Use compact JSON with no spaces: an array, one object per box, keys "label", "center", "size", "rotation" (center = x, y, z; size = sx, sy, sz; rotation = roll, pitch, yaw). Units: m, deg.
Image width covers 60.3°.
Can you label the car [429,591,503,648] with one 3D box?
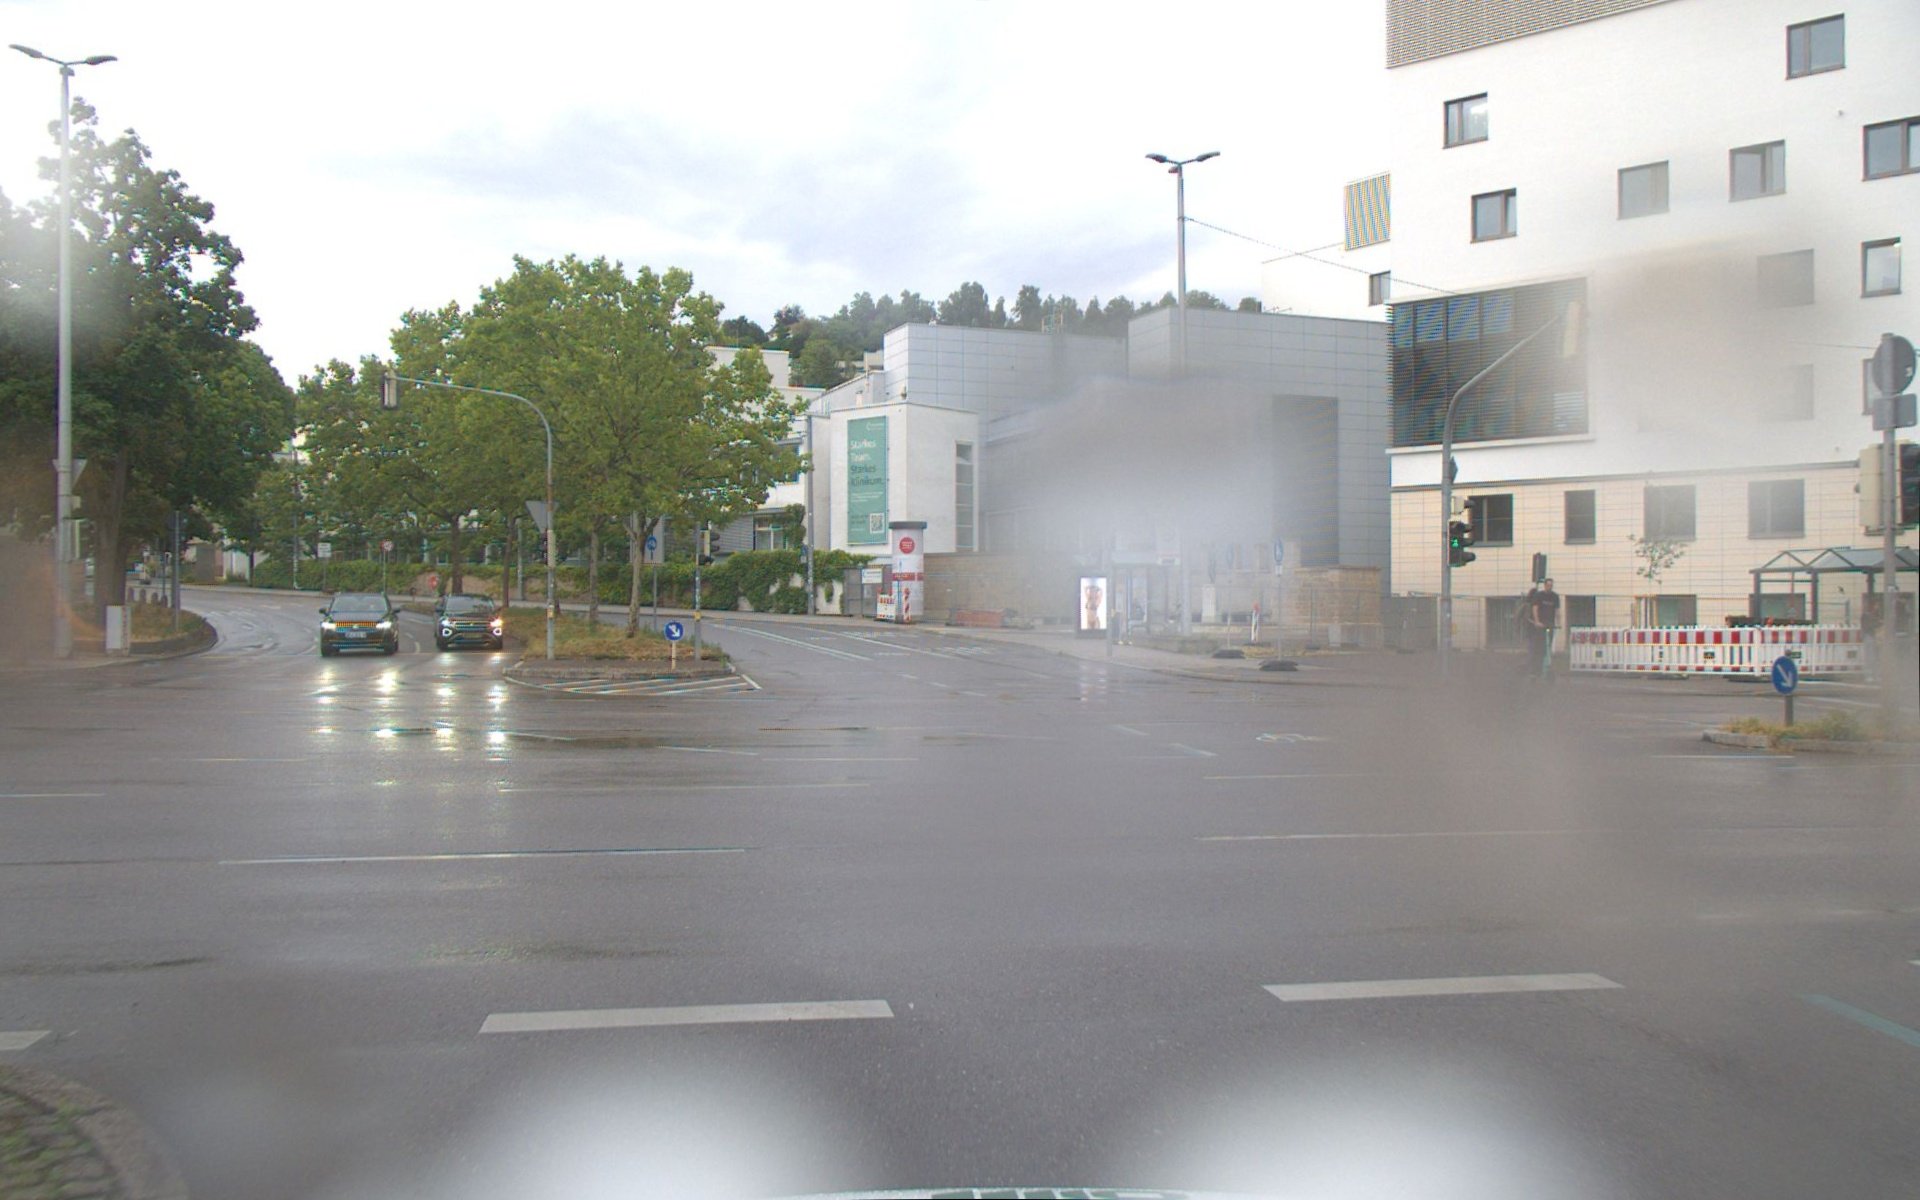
[{"label":"car","center":[-14.574,0.541,48.654],"size":[1.764,1.612,3.974],"rotation":[0,0,-22]}]

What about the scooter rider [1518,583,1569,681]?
[{"label":"scooter rider","center":[11.632,0.643,32.994],"size":[0.713,1.916,0.628],"rotation":[2,-2,-20]}]

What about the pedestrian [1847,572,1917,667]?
[{"label":"pedestrian","center":[18.686,0.409,33.523],"size":[0.934,1.872,0.821],"rotation":[2,-2,-12]}]

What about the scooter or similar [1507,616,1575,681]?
[{"label":"scooter or similar","center":[11.596,0.958,33.040],"size":[0.582,1.260,1.305],"rotation":[2,-2,-21]}]

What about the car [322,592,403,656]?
[{"label":"car","center":[-16.088,0.602,44.695],"size":[1.838,1.592,4.256],"rotation":[0,1,-17]}]

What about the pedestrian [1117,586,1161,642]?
[{"label":"pedestrian","center":[5.698,0.455,52.744],"size":[1.232,1.749,1.016],"rotation":[2,-2,-2]}]

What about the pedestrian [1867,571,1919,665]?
[{"label":"pedestrian","center":[20.166,0.393,35.462],"size":[0.980,1.969,0.955],"rotation":[1,-2,9]}]
